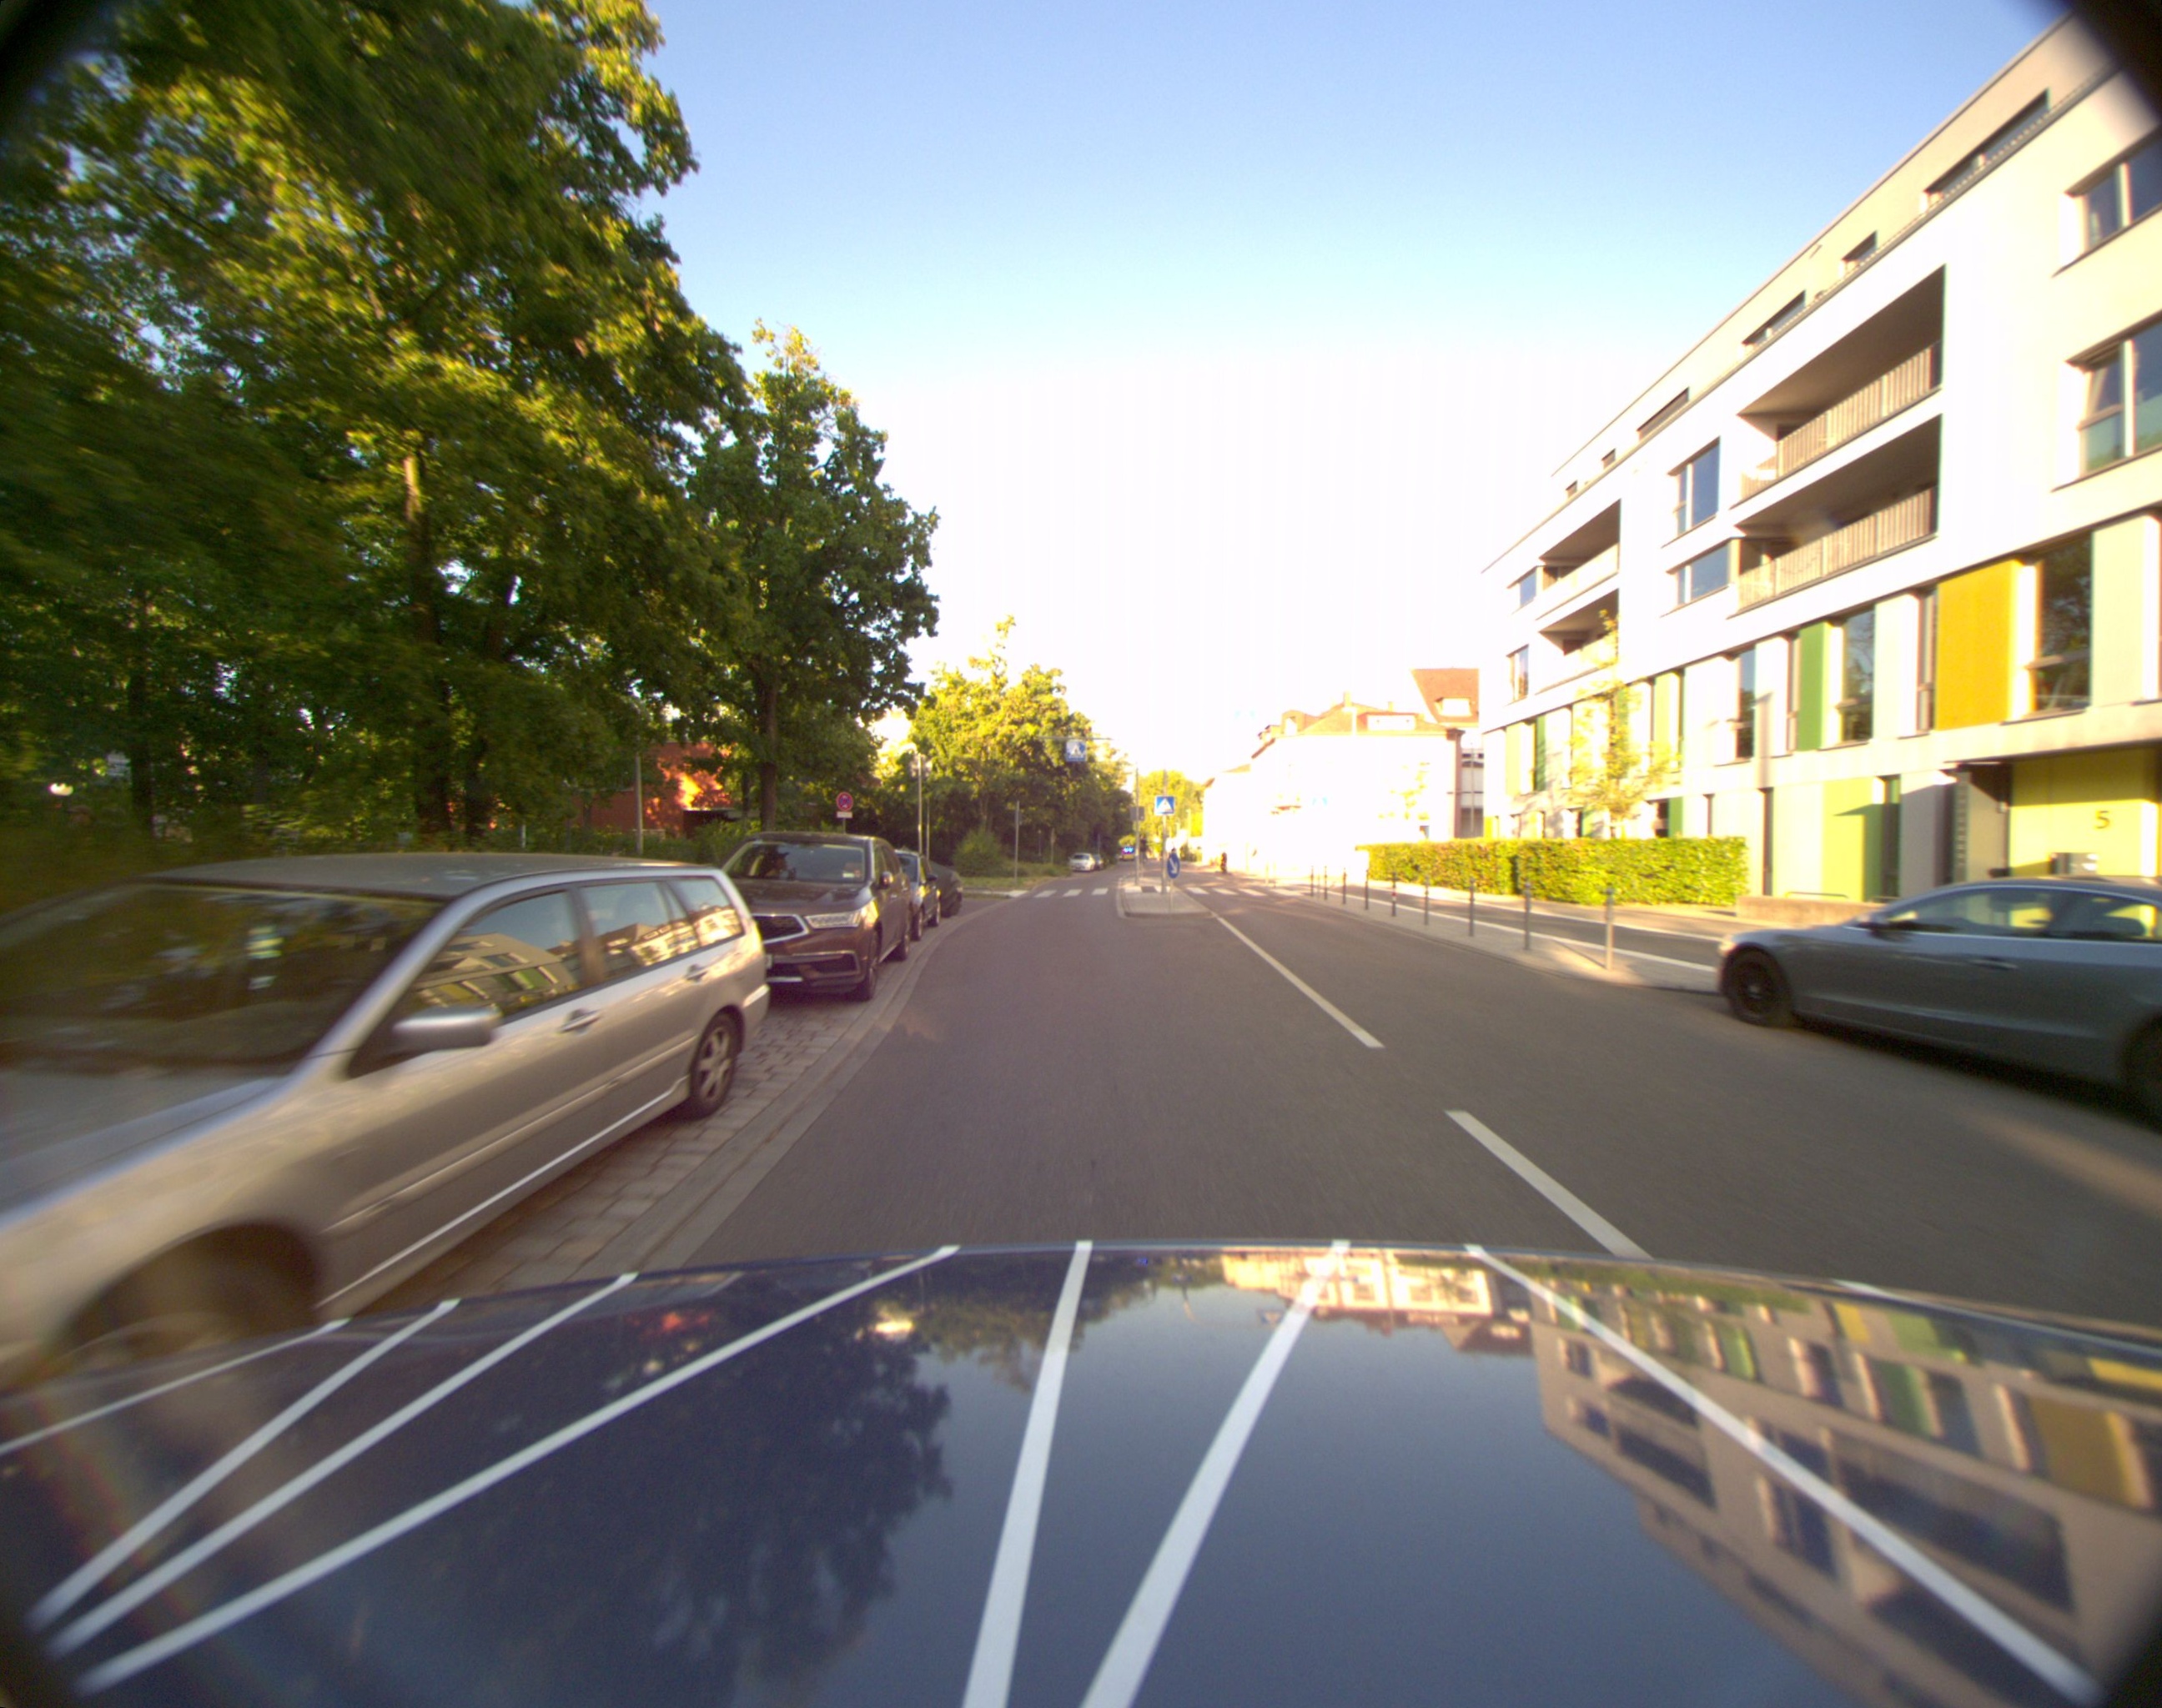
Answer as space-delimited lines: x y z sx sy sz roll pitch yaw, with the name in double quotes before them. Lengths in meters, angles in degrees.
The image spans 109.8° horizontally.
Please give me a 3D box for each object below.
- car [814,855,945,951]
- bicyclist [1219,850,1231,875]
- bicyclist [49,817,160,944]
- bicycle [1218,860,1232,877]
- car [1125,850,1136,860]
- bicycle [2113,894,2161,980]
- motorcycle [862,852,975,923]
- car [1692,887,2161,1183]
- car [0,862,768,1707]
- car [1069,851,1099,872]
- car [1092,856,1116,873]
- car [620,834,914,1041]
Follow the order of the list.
"car" -3.486 0.782 13.702 1.624 1.478 3.417 1 0 -3
"bicyclist" 9.525 0.562 50.289 0.628 1.635 0.758 1 1 3
"bicyclist" -13.038 0.337 10.161 0.533 1.635 0.724 1 1 2
"bicycle" 9.524 0.928 50.335 0.635 1.072 1.884 0 0 3
"car" 10.294 0.244 159.083 2.228 2.002 4.892 0 0 5
"bicycle" 12.793 0.913 8.449 1.755 0.912 0.617 -1 1 2
"motorcycle" -3.684 0.728 17.346 2.296 1.536 1.040 1 1 7
"car" 6.423 1.002 4.806 1.746 1.349 4.397 1 0 3
"car" -2.815 0.853 2.647 1.655 1.558 4.301 1 0 0
"car" 0.255 0.553 58.599 1.751 1.478 4.178 2 0 7
"car" 2.013 0.894 66.295 1.751 1.478 4.511 0 0 6
"car" -3.164 0.695 8.791 1.928 1.738 4.663 1 0 -6
